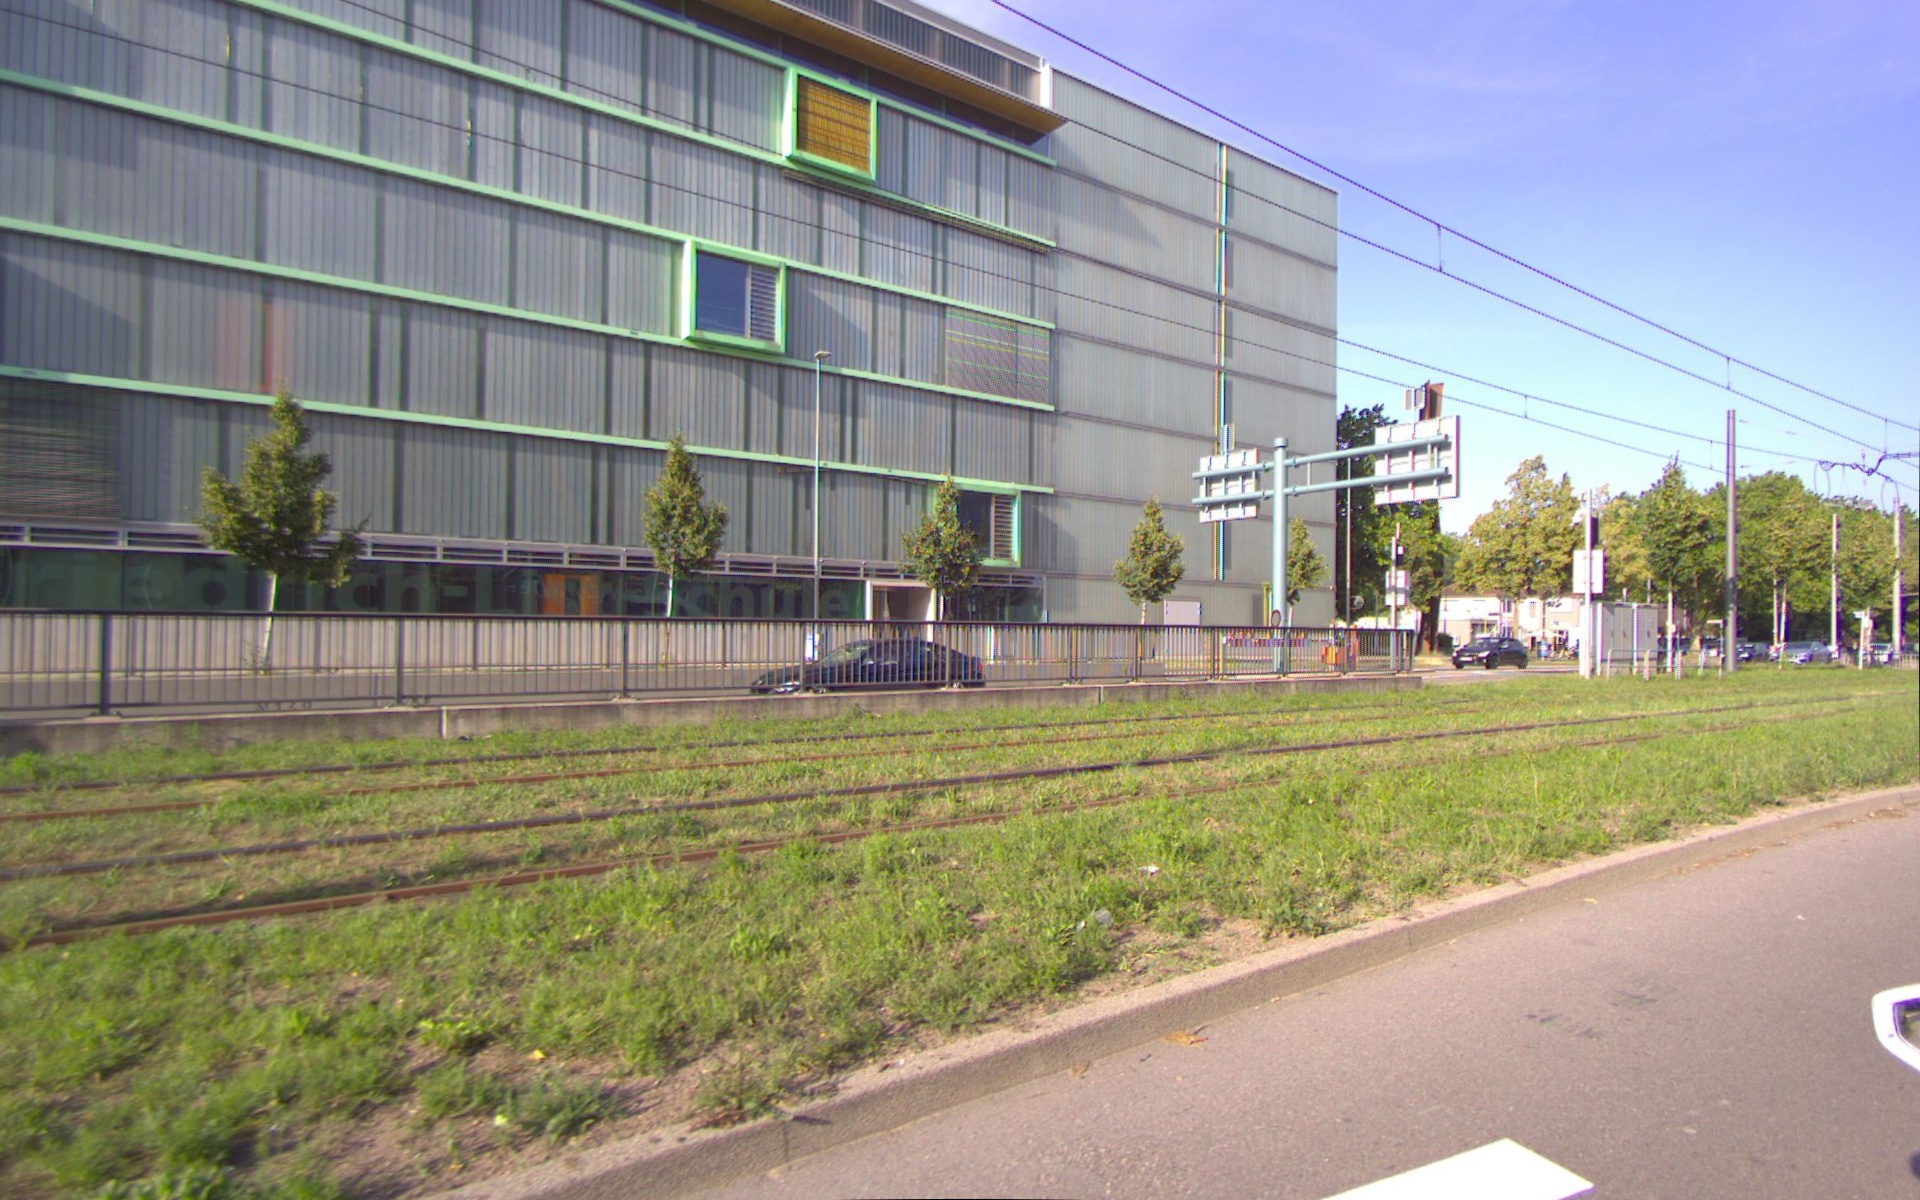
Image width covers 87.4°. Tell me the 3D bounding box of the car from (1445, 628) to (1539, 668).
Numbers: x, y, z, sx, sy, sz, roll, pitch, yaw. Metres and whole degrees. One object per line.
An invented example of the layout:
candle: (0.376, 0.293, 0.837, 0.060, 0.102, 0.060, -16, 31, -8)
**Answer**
car: (24.387, 2.171, 46.016, 4.680, 1.709, 1.980, 2, -1, -36)

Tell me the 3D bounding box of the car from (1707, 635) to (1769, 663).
car: (50.268, 3.119, 64.909, 4.571, 1.709, 1.980, 2, -1, -36)

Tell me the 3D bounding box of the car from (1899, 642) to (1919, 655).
car: (118.829, 6.079, 124.974, 3.953, 1.580, 1.873, 2, -2, -30)

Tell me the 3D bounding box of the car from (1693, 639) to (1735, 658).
car: (73.468, 4.744, 97.907, 3.953, 1.773, 1.873, 2, -2, -30)

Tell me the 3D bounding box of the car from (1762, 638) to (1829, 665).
car: (50.103, 3.083, 60.220, 4.868, 1.547, 1.980, 2, -5, -37)

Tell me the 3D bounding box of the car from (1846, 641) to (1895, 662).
car: (70.754, 3.985, 78.026, 4.397, 1.548, 1.893, 2, -1, -35)

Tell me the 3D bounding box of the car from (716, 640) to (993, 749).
car: (-1.854, 1.614, 18.367, 4.680, 1.709, 1.980, 2, -1, -36)
